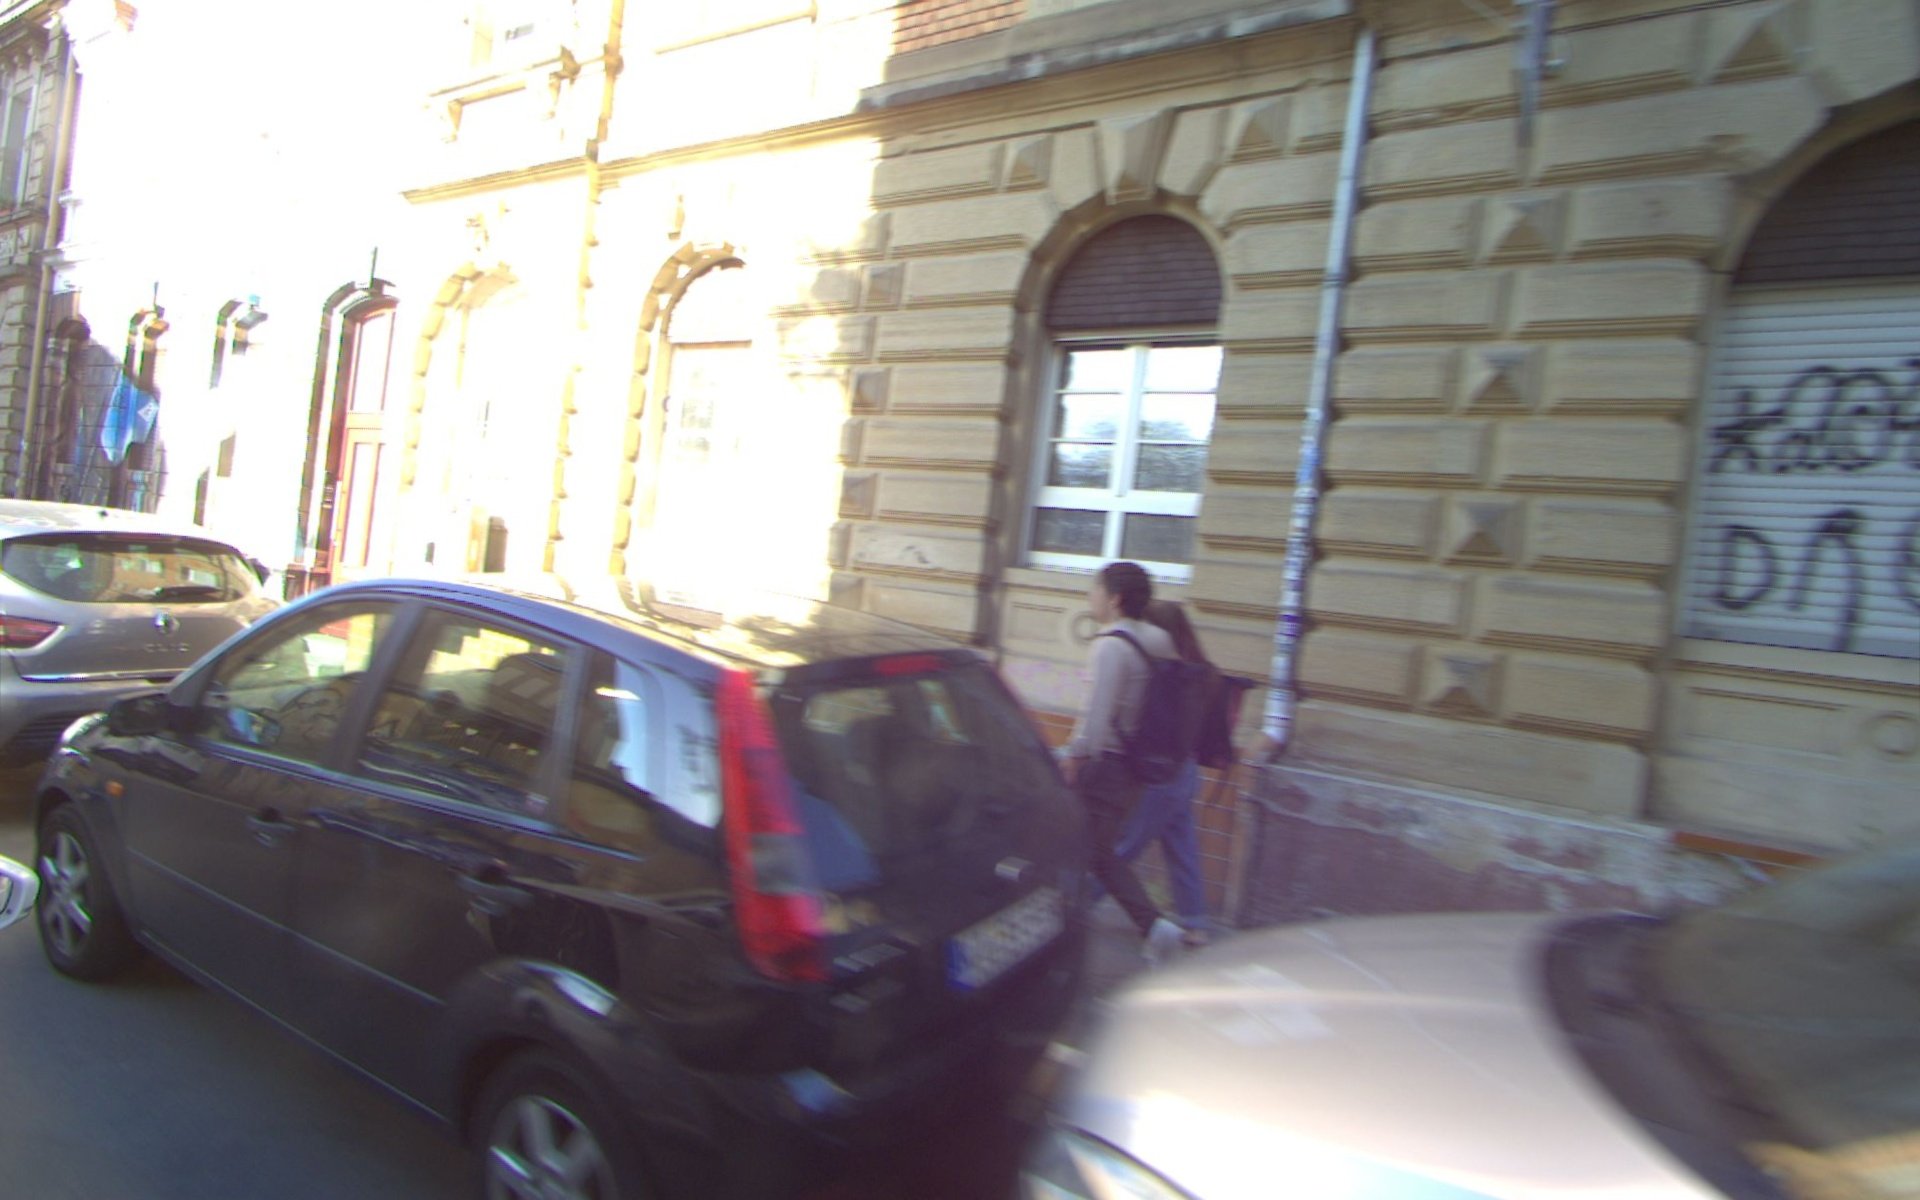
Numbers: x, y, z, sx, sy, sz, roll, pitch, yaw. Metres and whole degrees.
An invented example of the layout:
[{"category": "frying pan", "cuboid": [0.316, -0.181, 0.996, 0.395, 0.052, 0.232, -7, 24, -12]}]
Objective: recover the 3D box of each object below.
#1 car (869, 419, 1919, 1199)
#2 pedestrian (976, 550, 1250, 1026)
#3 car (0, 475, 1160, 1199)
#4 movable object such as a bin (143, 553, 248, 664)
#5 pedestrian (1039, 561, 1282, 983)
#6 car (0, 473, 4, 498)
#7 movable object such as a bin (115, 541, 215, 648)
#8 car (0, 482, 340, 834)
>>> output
[{"category": "car", "cuboid": [1.976, 0.874, 1.197, 3.871, 1.735, 1.706, 7, 0, 30]}, {"category": "pedestrian", "cuboid": [0.612, 0.673, 3.963, 0.715, 1.624, 0.591, 8, 1, 30]}, {"category": "car", "cuboid": [-1.435, 0.583, 3.191, 3.619, 1.531, 1.538, 7, 0, 30]}, {"category": "movable object such as a bin", "cuboid": [-7.914, 0.081, 10.435, 0.592, 1.066, 0.549, 6, 2, -1]}, {"category": "pedestrian", "cuboid": [0.898, 0.707, 4.470, 0.722, 1.642, 0.575, 8, 1, 30]}, {"category": "car", "cuboid": [-10.061, -0.482, 8.473, 4.145, 1.708, 1.812, 6, -3, 33]}, {"category": "movable object such as a bin", "cuboid": [-8.635, -0.059, 10.935, 0.592, 1.066, 0.549, 7, 2, 14]}, {"category": "car", "cuboid": [-5.629, 0.133, 5.833, 3.840, 1.541, 1.578, 7, -3, 28]}]
